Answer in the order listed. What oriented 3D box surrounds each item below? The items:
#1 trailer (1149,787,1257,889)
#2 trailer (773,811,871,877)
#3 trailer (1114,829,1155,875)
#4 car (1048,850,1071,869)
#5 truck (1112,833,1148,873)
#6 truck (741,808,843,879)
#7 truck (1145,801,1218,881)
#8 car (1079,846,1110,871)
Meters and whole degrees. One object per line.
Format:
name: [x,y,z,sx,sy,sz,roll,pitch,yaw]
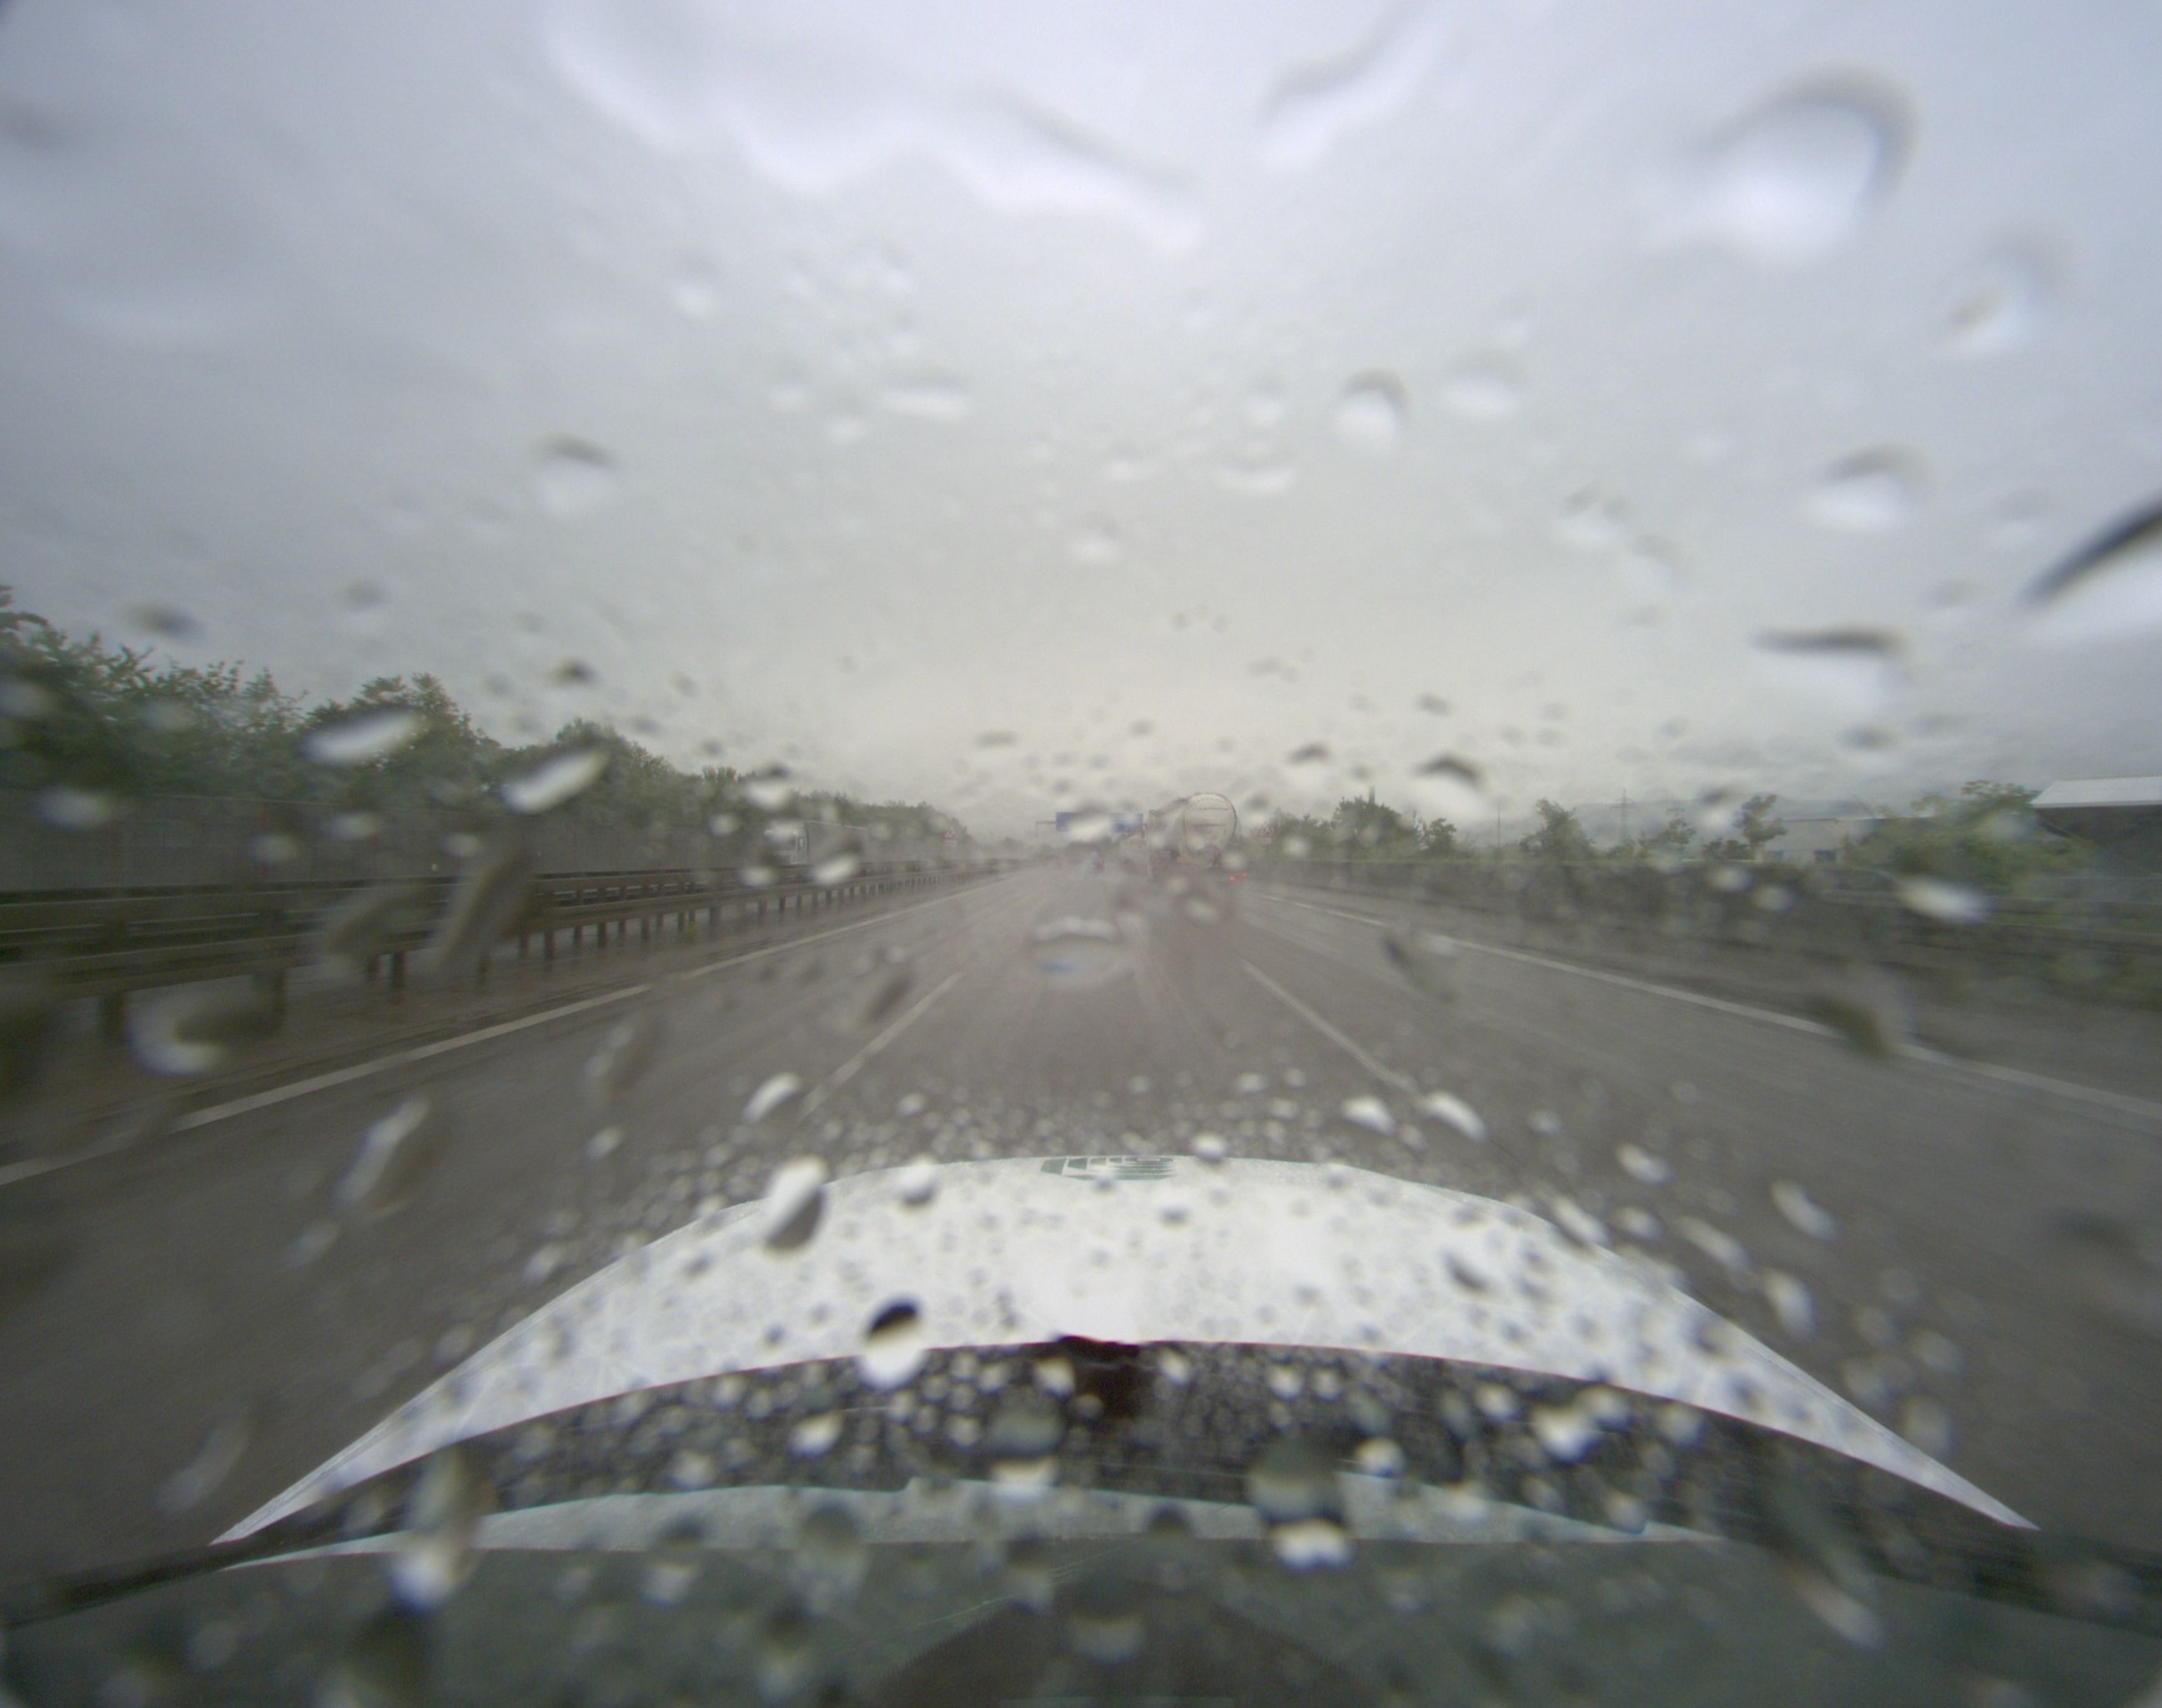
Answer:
trailer: [4.924,-0.589,35.327,3.177,3.670,11.669,0,0,1]
trailer: [-20.294,-0.726,64.931,3.857,4.695,12.240,0,0,0]
trailer: [4.701,-0.163,73.688,2.996,3.848,8.619,-1,0,-1]
car: [-2.003,0.518,76.696,1.918,1.741,4.406,0,0,2]
truck: [4.633,-0.082,78.930,2.935,3.684,6.357,-1,0,-1]
truck: [-20.279,-0.701,57.967,3.824,4.639,9.490,0,0,0]
truck: [5.070,-0.624,42.528,3.093,3.806,7.214,0,0,1]
car: [1.018,0.280,59.438,1.969,1.756,4.487,-1,0,4]
